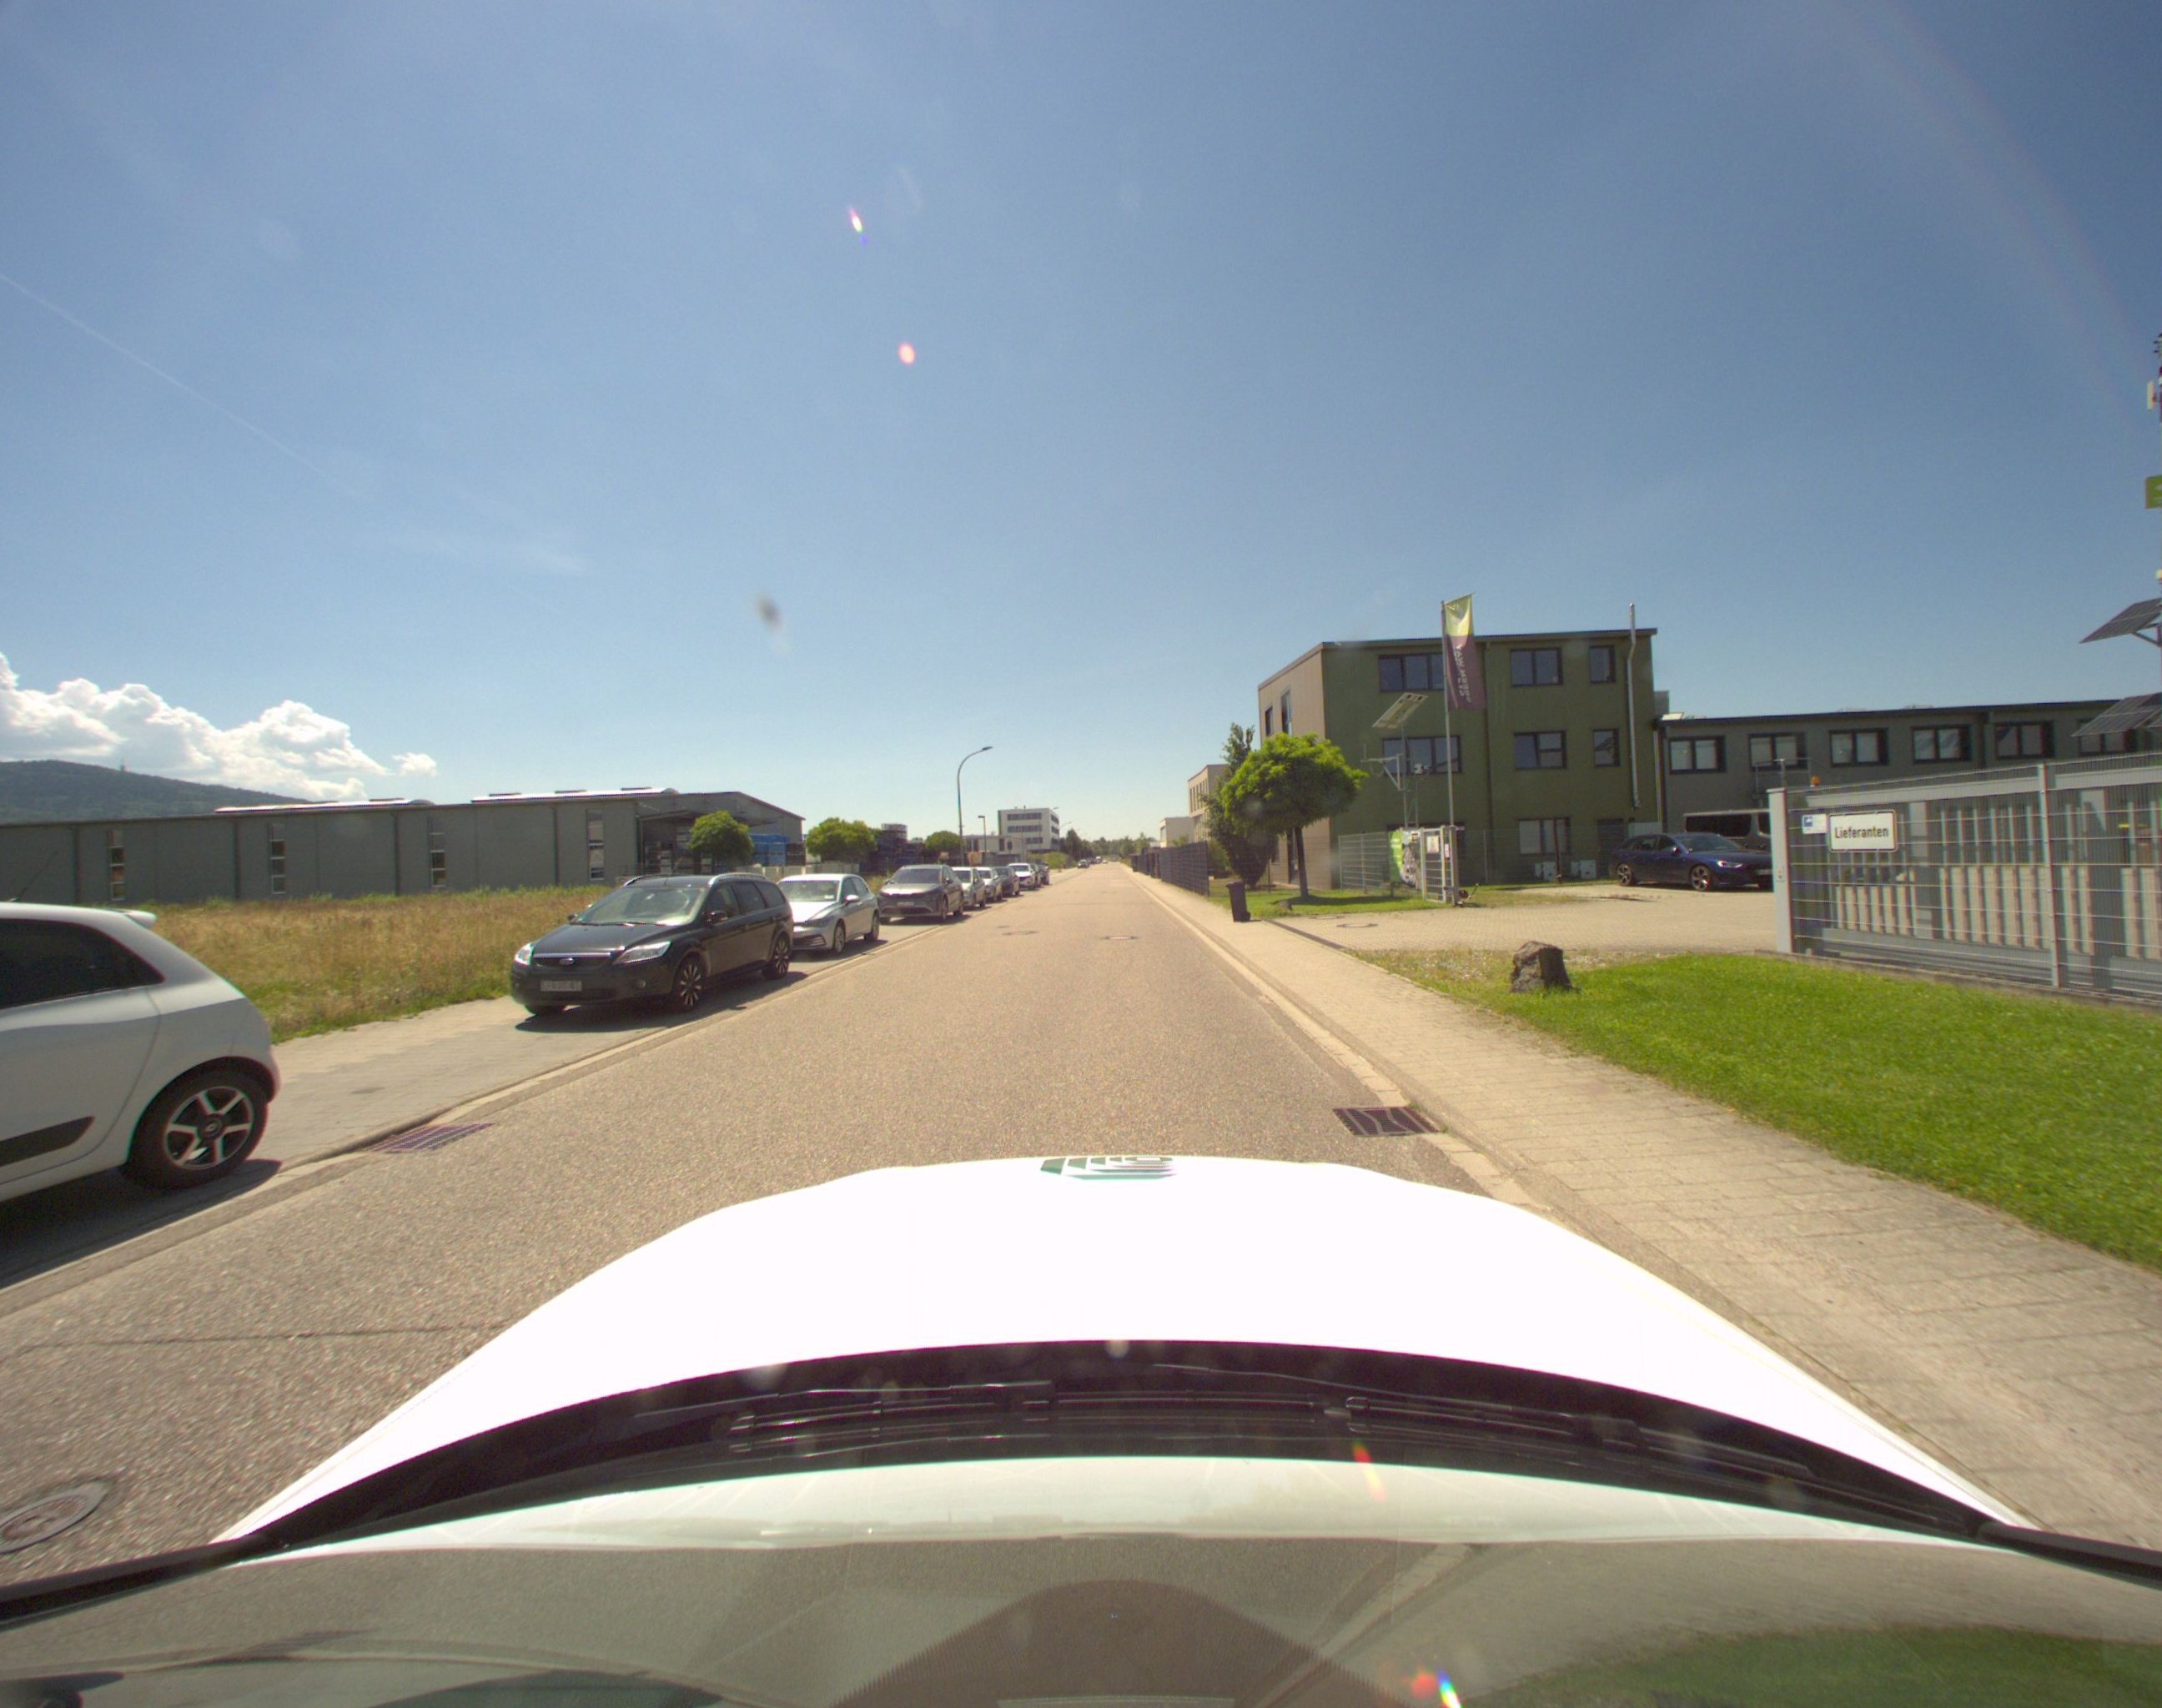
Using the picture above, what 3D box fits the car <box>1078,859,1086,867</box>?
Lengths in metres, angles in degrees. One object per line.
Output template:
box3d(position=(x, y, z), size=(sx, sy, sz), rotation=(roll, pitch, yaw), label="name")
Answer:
box3d(position=(0.205, 1.744, 154.989), size=(1.461, 1.490, 3.209), rotation=(-2, 0, 2), label="car")

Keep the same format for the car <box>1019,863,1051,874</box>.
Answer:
box3d(position=(-6.373, 2.003, 113.895), size=(4.261, 1.364, 1.899), rotation=(-3, 0, 2), label="car")

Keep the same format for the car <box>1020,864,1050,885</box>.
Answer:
box3d(position=(-3.382, 1.498, 60.597), size=(1.762, 1.461, 4.335), rotation=(-1, -1, 2), label="car")

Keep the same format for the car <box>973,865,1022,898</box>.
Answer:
box3d(position=(-4.071, 1.331, 40.342), size=(1.850, 1.481, 4.231), rotation=(-1, 0, 2), label="car")

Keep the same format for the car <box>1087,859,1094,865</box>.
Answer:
box3d(position=(2.427, 2.078, 209.955), size=(1.638, 1.490, 3.209), rotation=(-2, 0, 2), label="car")

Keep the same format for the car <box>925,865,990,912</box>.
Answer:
box3d(position=(-4.441, 1.207, 29.782), size=(1.688, 1.525, 3.736), rotation=(-1, 0, 1), label="car")

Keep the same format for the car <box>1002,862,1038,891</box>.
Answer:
box3d(position=(-3.627, 1.316, 49.146), size=(1.763, 1.592, 4.360), rotation=(-1, -1, 1), label="car")

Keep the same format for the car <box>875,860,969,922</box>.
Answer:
box3d(position=(-4.559, 1.007, 24.029), size=(1.784, 1.607, 4.464), rotation=(-1, 0, 1), label="car")

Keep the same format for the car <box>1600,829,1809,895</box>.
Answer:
box3d(position=(15.856, 0.173, 21.106), size=(1.986, 1.438, 4.614), rotation=(-2, 0, 2), label="car")

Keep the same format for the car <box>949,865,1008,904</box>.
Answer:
box3d(position=(-4.351, 1.268, 35.243), size=(1.769, 1.481, 4.817), rotation=(-1, 0, 1), label="car")

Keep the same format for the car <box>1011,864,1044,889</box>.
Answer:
box3d(position=(-3.549, 1.453, 54.597), size=(1.763, 1.556, 4.502), rotation=(-1, -1, 1), label="car")

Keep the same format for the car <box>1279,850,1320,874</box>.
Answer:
box3d(position=(14.102, 0.516, 52.722), size=(1.649, 1.444, 4.002), rotation=(-3, -1, 2), label="car")

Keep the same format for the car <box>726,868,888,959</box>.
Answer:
box3d(position=(-5.124, 1.038, 15.850), size=(1.758, 1.451, 4.199), rotation=(-1, 0, -1), label="car")

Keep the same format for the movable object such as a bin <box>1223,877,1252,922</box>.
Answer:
box3d(position=(3.568, 1.030, 18.523), size=(0.548, 0.928, 0.523), rotation=(-6, -1, 12), label="movable object such as a bin")

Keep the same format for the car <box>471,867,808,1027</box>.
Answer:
box3d(position=(-5.156, 0.969, 10.330), size=(1.756, 1.517, 4.381), rotation=(-1, 0, 2), label="car")

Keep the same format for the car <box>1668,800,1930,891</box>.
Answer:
box3d(position=(18.379, -0.203, 21.359), size=(1.986, 1.996, 5.658), rotation=(-2, 0, 2), label="car")

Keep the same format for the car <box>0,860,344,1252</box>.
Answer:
box3d(position=(-5.507, 0.884, 3.159), size=(1.781, 1.656, 3.769), rotation=(-2, 0, 1), label="car")
